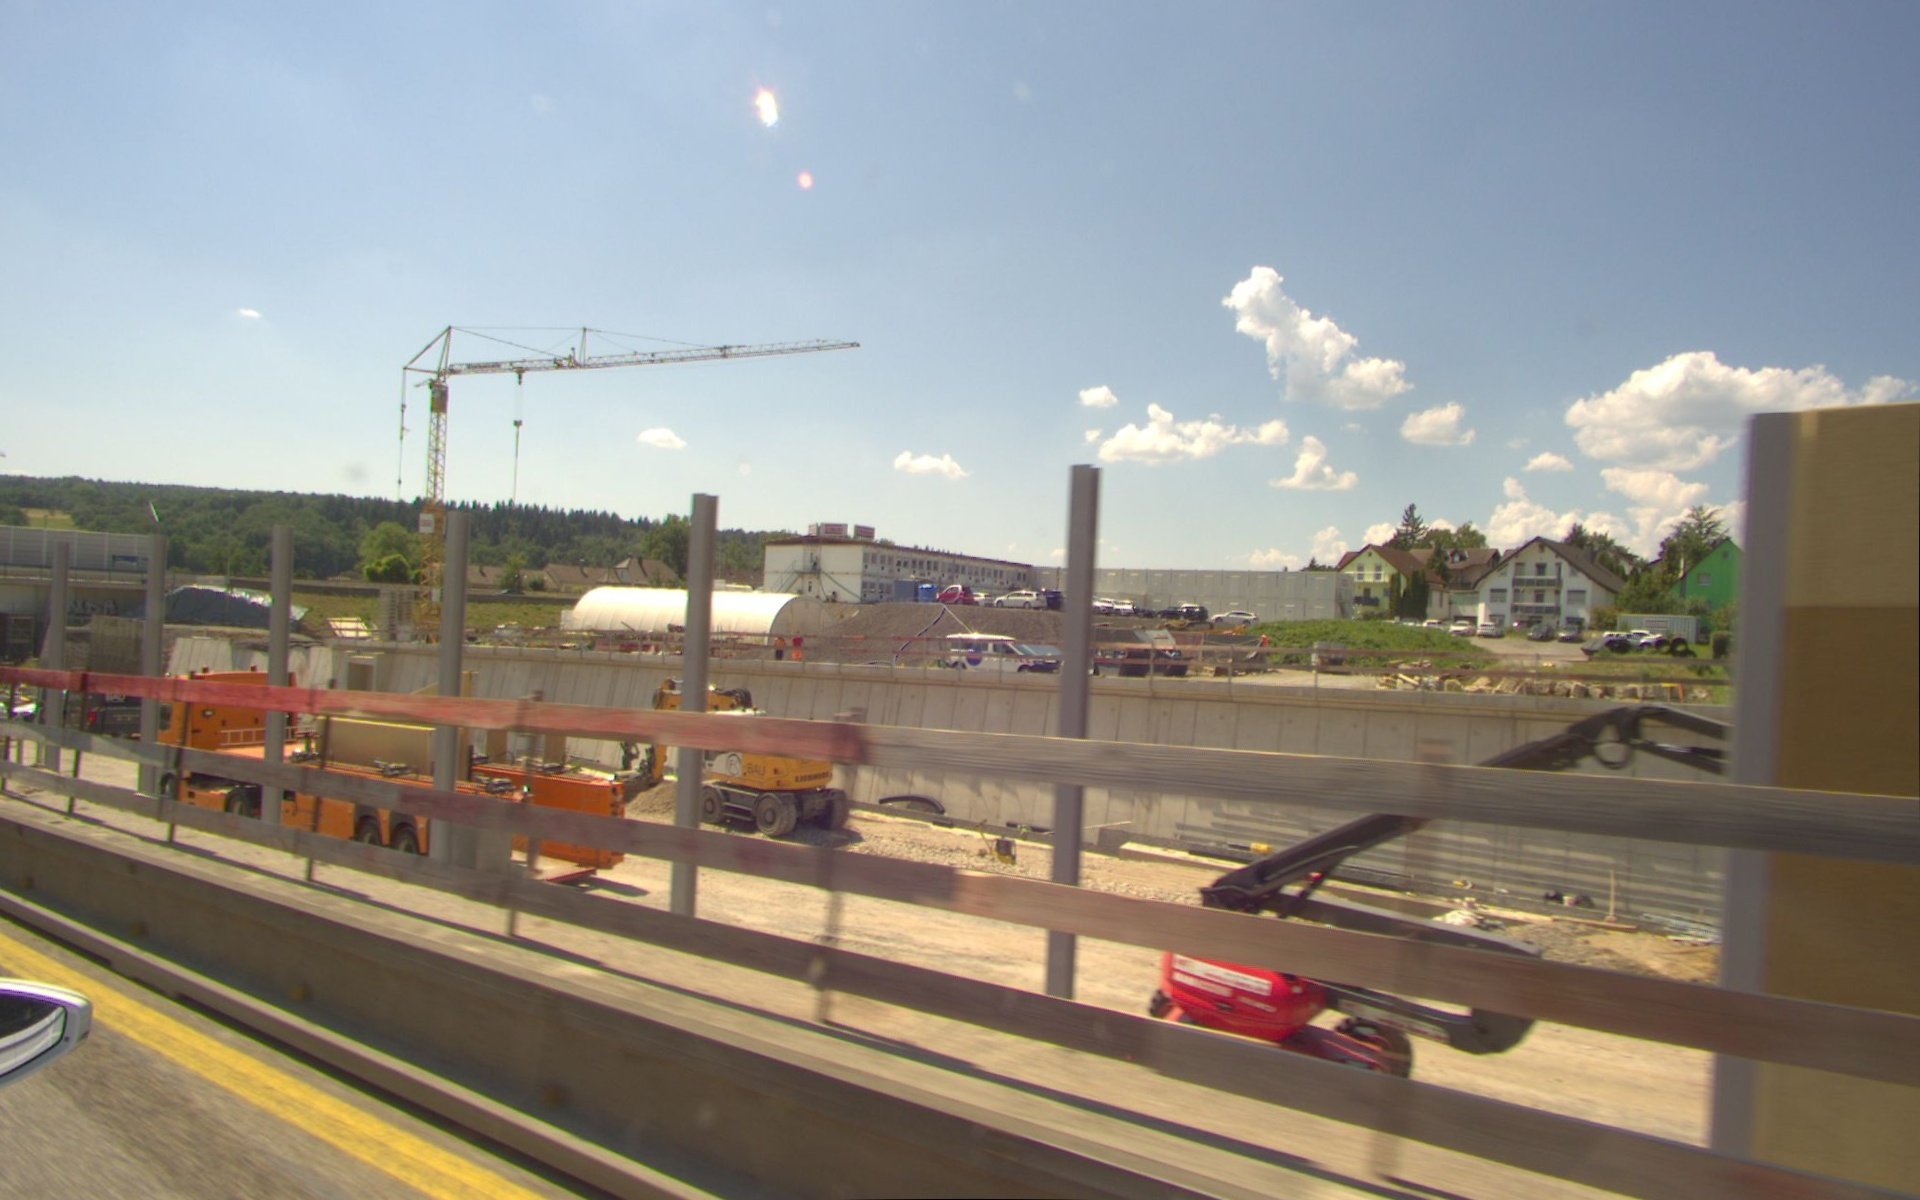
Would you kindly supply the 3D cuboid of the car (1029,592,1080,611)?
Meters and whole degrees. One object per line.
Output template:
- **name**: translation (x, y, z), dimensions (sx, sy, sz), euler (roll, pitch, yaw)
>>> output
- **car**: translation (7.989, 0.116, 84.809), dimensions (4.018, 1.537, 1.677), euler (0, -2, 33)

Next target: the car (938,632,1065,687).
- **car**: translation (1.628, 2.319, 39.916), dimensions (4.754, 2.039, 1.803), euler (0, -1, 31)

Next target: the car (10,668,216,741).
- **car**: translation (-35.524, 4.300, 42.272), dimensions (2.486, 2.617, 6.098), euler (2, -2, 22)

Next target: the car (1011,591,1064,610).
- **car**: translation (6.401, 0.058, 82.799), dimensions (4.018, 1.537, 1.677), euler (0, -2, 33)

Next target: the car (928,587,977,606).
- **car**: translation (-0.585, -0.265, 75.048), dimensions (3.381, 1.333, 1.511), euler (0, -2, 33)

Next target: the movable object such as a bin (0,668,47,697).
- **movable object such as a bin**: translation (-54.212, 4.691, 56.876), dimensions (3.057, 1.583, 1.549), euler (1, -1, -23)

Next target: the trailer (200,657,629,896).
- **trailer**: translation (-12.891, 3.443, 22.745), dimensions (12.864, 3.936, 2.753), euler (0, -1, 33)

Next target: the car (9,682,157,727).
- **car**: translation (-40.470, 4.779, 46.334), dimensions (1.971, 1.796, 4.722), euler (2, -2, 33)

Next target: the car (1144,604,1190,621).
- **car**: translation (19.705, 1.221, 95.320), dimensions (4.018, 1.537, 1.677), euler (0, -2, 33)

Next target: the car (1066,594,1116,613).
- **car**: translation (11.571, 0.332, 88.632), dimensions (4.018, 1.537, 1.710), euler (0, -2, 33)

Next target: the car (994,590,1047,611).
- **car**: translation (4.866, 0.058, 80.611), dimensions (4.018, 1.537, 1.677), euler (0, -2, 33)

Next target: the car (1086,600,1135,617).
- **car**: translation (13.603, 0.783, 90.580), dimensions (4.018, 1.537, 1.677), euler (0, -2, 33)

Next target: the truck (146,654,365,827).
- **truck**: translation (-18.734, 3.486, 26.564), dimensions (5.798, 3.936, 2.753), euler (0, -1, 33)

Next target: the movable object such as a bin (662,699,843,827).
- **movable object such as a bin**: translation (-5.894, 4.469, 28.356), dimensions (4.753, 3.061, 2.277), euler (-1, -3, 33)

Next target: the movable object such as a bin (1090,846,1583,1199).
- **movable object such as a bin**: translation (4.070, 4.408, 11.054), dimensions (4.753, 2.461, 2.165), euler (-1, -3, 33)

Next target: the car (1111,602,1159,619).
- **car**: translation (16.085, 0.951, 92.108), dimensions (4.018, 1.537, 1.677), euler (0, -2, 33)

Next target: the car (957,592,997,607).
- **car**: translation (1.580, -0.036, 93.330), dimensions (3.381, 1.297, 1.511), euler (0, -2, 33)
